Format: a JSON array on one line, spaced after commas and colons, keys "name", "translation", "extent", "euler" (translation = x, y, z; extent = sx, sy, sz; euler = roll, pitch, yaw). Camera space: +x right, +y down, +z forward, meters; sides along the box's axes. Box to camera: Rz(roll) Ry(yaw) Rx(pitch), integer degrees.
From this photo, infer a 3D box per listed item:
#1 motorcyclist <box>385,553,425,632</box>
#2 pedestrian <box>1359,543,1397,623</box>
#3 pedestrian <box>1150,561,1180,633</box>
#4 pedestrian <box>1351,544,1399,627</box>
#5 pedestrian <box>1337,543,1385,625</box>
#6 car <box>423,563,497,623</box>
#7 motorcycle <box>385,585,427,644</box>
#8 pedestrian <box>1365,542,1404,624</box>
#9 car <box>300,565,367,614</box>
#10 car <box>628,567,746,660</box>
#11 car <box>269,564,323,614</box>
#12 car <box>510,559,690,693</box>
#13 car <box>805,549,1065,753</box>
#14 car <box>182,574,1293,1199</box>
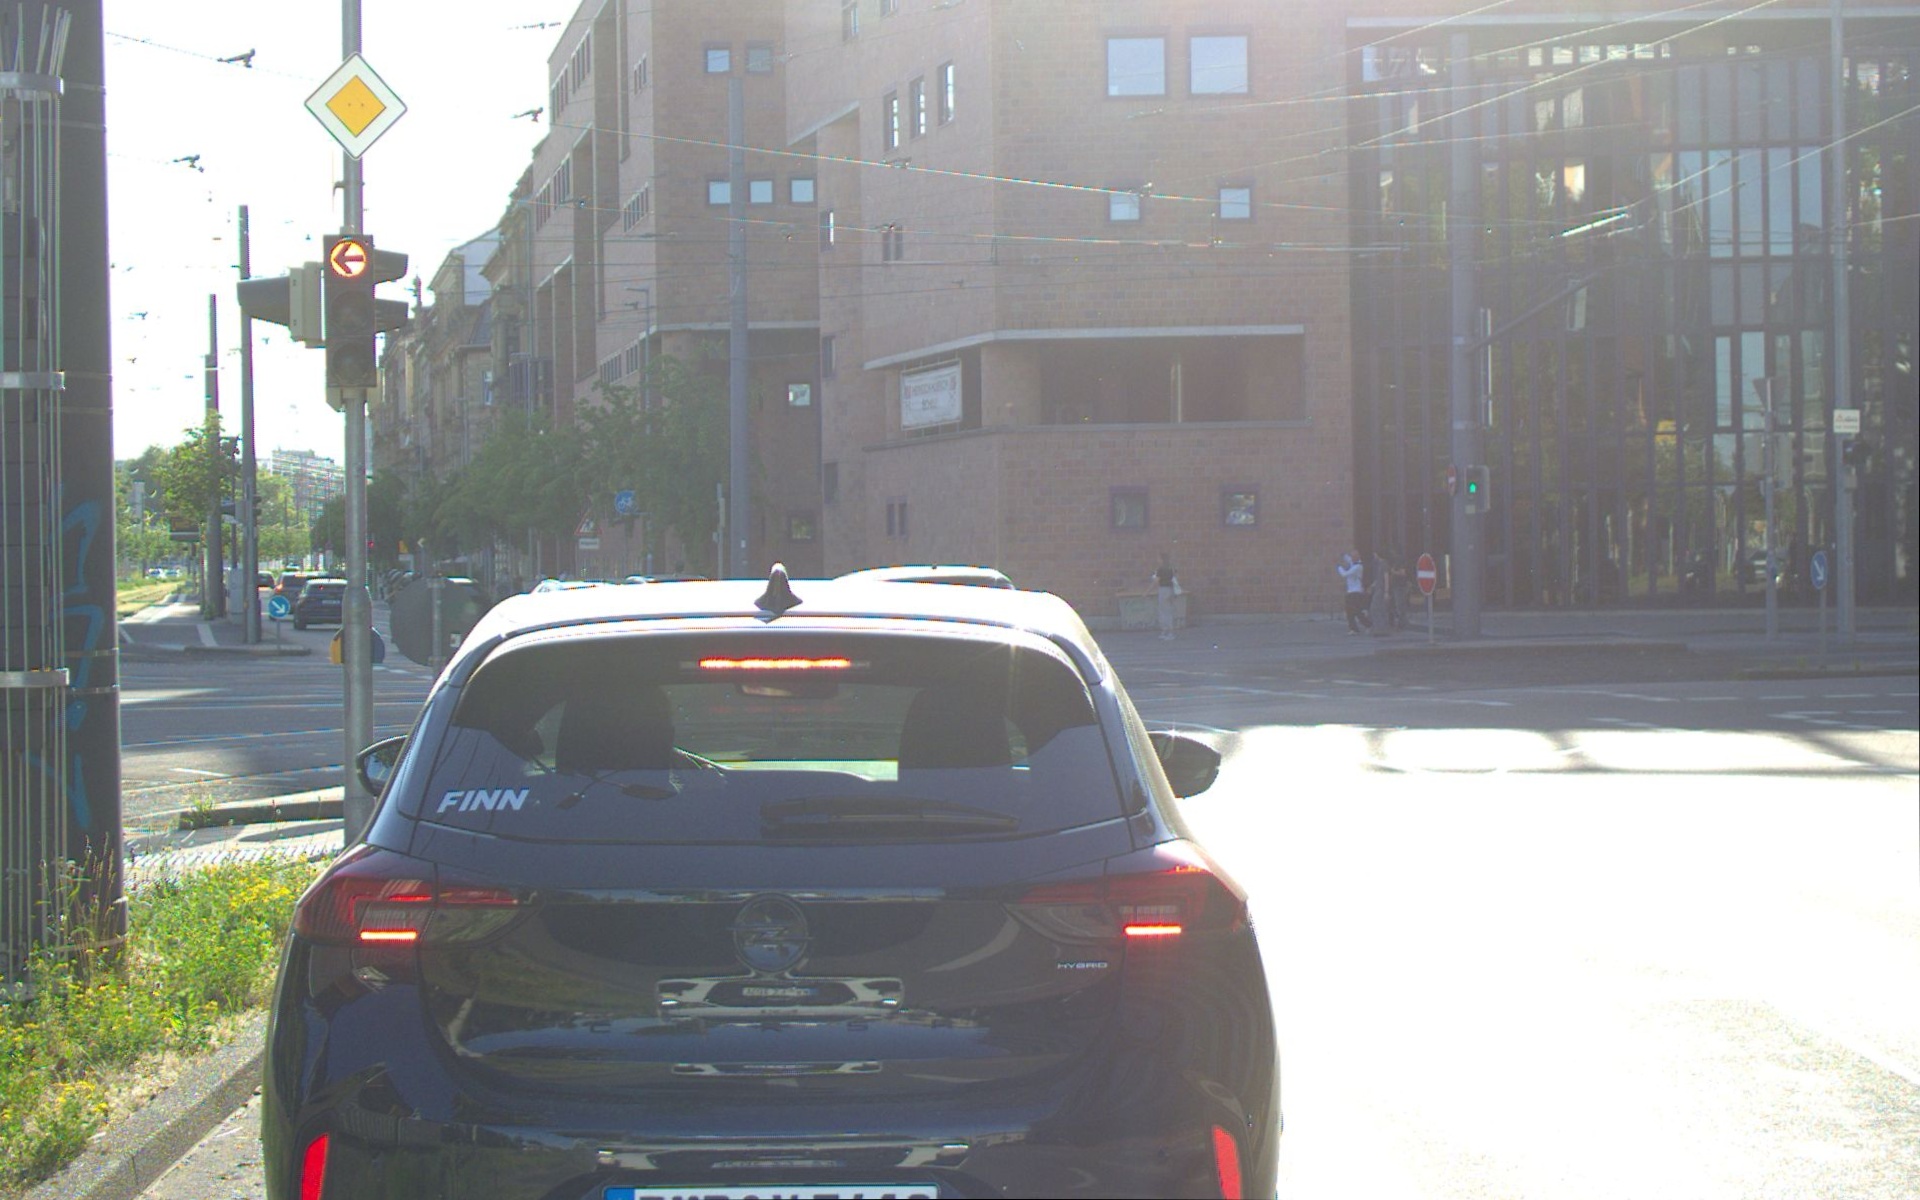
[{"name": "motorcyclist", "translation": [-10.897, -0.159, 67.536], "extent": [0.744, 1.525, 1.021], "euler": [-1, 1, -9]}, {"name": "pedestrian", "translation": [8.498, -0.355, 69.919], "extent": [0.738, 1.611, 0.560], "euler": [-1, 1, 8]}, {"name": "pedestrian", "translation": [4.085, -0.064, 68.588], "extent": [0.529, 1.425, 0.598], "euler": [-1, 1, -1]}, {"name": "pedestrian", "translation": [8.141, -0.294, 67.435], "extent": [0.900, 1.611, 0.560], "euler": [-1, 1, 8]}, {"name": "pedestrian", "translation": [7.954, -0.324, 68.166], "extent": [0.900, 1.611, 0.560], "euler": [-1, 1, 8]}, {"name": "car", "translation": [-12.734, -0.192, 87.455], "extent": [1.807, 1.452, 4.001], "euler": [0, 1, -9]}, {"name": "motorcycle", "translation": [-10.874, 0.276, 67.491], "extent": [0.775, 1.111, 1.970], "euler": [-1, 1, -9]}, {"name": "pedestrian", "translation": [8.519, -0.343, 69.005], "extent": [0.738, 1.611, 0.560], "euler": [-1, 1, 8]}, {"name": "car", "translation": [-17.952, -0.315, 98.399], "extent": [1.737, 1.345, 4.001], "euler": [-1, 1, -12]}, {"name": "car", "translation": [-4.609, 0.202, 57.569], "extent": [1.807, 1.452, 4.001], "euler": [0, 1, -7]}, {"name": "car", "translation": [-22.443, -0.390, 116.155], "extent": [1.737, 1.645, 4.001], "euler": [-1, 1, -12]}, {"name": "car", "translation": [-4.630, 0.283, 43.734], "extent": [1.811, 1.487, 4.497], "euler": [-4, 2, -11]}, {"name": "car", "translation": [-0.279, 0.362, 28.235], "extent": [1.685, 1.428, 4.154], "euler": [2, 2, -6]}, {"name": "car", "translation": [-0.307, 0.681, 7.131], "extent": [1.649, 1.428, 4.000], "euler": [-1, 1, 1]}]
